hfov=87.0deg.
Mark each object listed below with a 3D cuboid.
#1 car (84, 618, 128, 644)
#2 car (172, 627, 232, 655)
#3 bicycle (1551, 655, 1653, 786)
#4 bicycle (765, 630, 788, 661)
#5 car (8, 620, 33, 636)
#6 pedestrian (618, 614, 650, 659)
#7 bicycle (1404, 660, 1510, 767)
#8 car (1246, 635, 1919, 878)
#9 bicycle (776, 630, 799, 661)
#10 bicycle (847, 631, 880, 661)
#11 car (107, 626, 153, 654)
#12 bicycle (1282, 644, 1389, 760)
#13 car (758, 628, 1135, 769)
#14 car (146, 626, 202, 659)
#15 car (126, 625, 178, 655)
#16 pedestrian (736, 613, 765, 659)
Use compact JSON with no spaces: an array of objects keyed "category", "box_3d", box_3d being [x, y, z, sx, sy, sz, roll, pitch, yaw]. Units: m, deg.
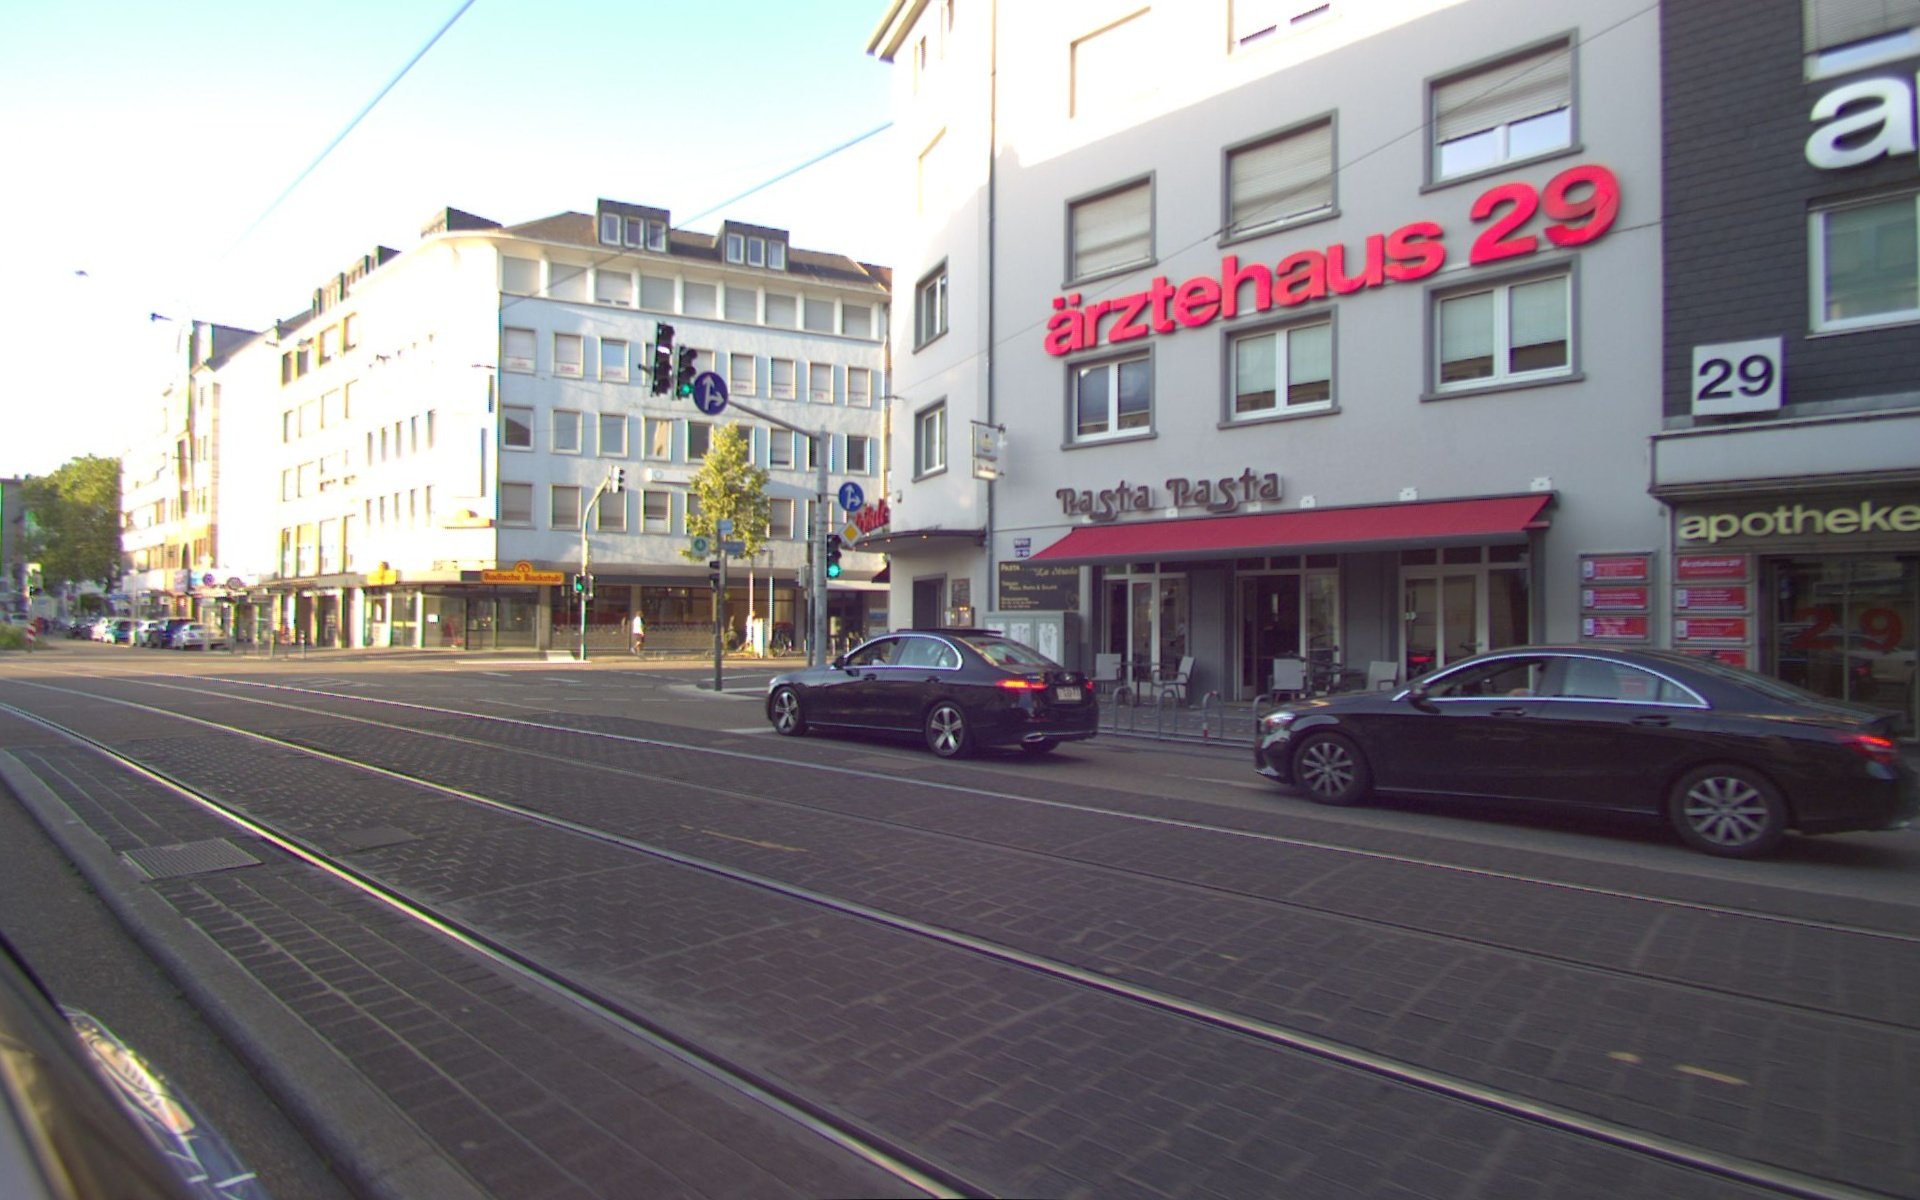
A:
[{"category":"car","box_3d":[-55.873,1.992,66.207,4.002,1.647,1.822,-1,-2,45]},{"category":"car","box_3d":[-37.668,2.013,50.234,4.002,1.304,1.822,-1,-2,45]},{"category":"bicycle","box_3d":[6.865,1.222,10.778,0.607,1.143,1.836,-1,1,42]},{"category":"bicycle","box_3d":[-7.313,1.796,40.282,0.462,1.213,1.925,1,-2,-22]},{"category":"car","box_3d":[-99.264,2.998,106.906,4.002,1.647,1.822,-1,-2,45]},{"category":"pedestrian","box_3d":[-12.829,1.443,39.826,0.981,1.739,0.805,0,0,4]},{"category":"bicycle","box_3d":[5.764,1.267,11.678,0.607,0.991,1.836,-1,1,42]},{"category":"car","box_3d":[4.843,1.029,8.088,4.563,1.397,1.894,-1,-4,43]},{"category":"bicycle","box_3d":[-6.929,1.818,40.616,0.462,1.213,1.925,1,-2,-22]},{"category":"bicycle","box_3d":[-4.013,1.874,41.923,0.462,1.213,1.924,2,-2,-34]},{"category":"car","box_3d":[-51.592,2.467,62.867,4.002,1.647,1.822,-1,-2,45]},{"category":"bicycle","box_3d":[4.747,1.228,12.719,0.607,1.236,1.836,-1,1,42]},{"category":"car","box_3d":[-0.319,1.085,12.426,4.563,1.397,1.894,-1,-4,43]},{"category":"car","box_3d":[-41.401,2.196,53.279,4.002,1.647,1.822,-1,-2,45]},{"category":"car","box_3d":[-46.080,2.256,57.698,4.002,1.647,1.822,-1,-2,45]},{"category":"pedestrian","box_3d":[-8.735,1.481,42.222,0.981,1.901,0.805,0,0,4]}]
